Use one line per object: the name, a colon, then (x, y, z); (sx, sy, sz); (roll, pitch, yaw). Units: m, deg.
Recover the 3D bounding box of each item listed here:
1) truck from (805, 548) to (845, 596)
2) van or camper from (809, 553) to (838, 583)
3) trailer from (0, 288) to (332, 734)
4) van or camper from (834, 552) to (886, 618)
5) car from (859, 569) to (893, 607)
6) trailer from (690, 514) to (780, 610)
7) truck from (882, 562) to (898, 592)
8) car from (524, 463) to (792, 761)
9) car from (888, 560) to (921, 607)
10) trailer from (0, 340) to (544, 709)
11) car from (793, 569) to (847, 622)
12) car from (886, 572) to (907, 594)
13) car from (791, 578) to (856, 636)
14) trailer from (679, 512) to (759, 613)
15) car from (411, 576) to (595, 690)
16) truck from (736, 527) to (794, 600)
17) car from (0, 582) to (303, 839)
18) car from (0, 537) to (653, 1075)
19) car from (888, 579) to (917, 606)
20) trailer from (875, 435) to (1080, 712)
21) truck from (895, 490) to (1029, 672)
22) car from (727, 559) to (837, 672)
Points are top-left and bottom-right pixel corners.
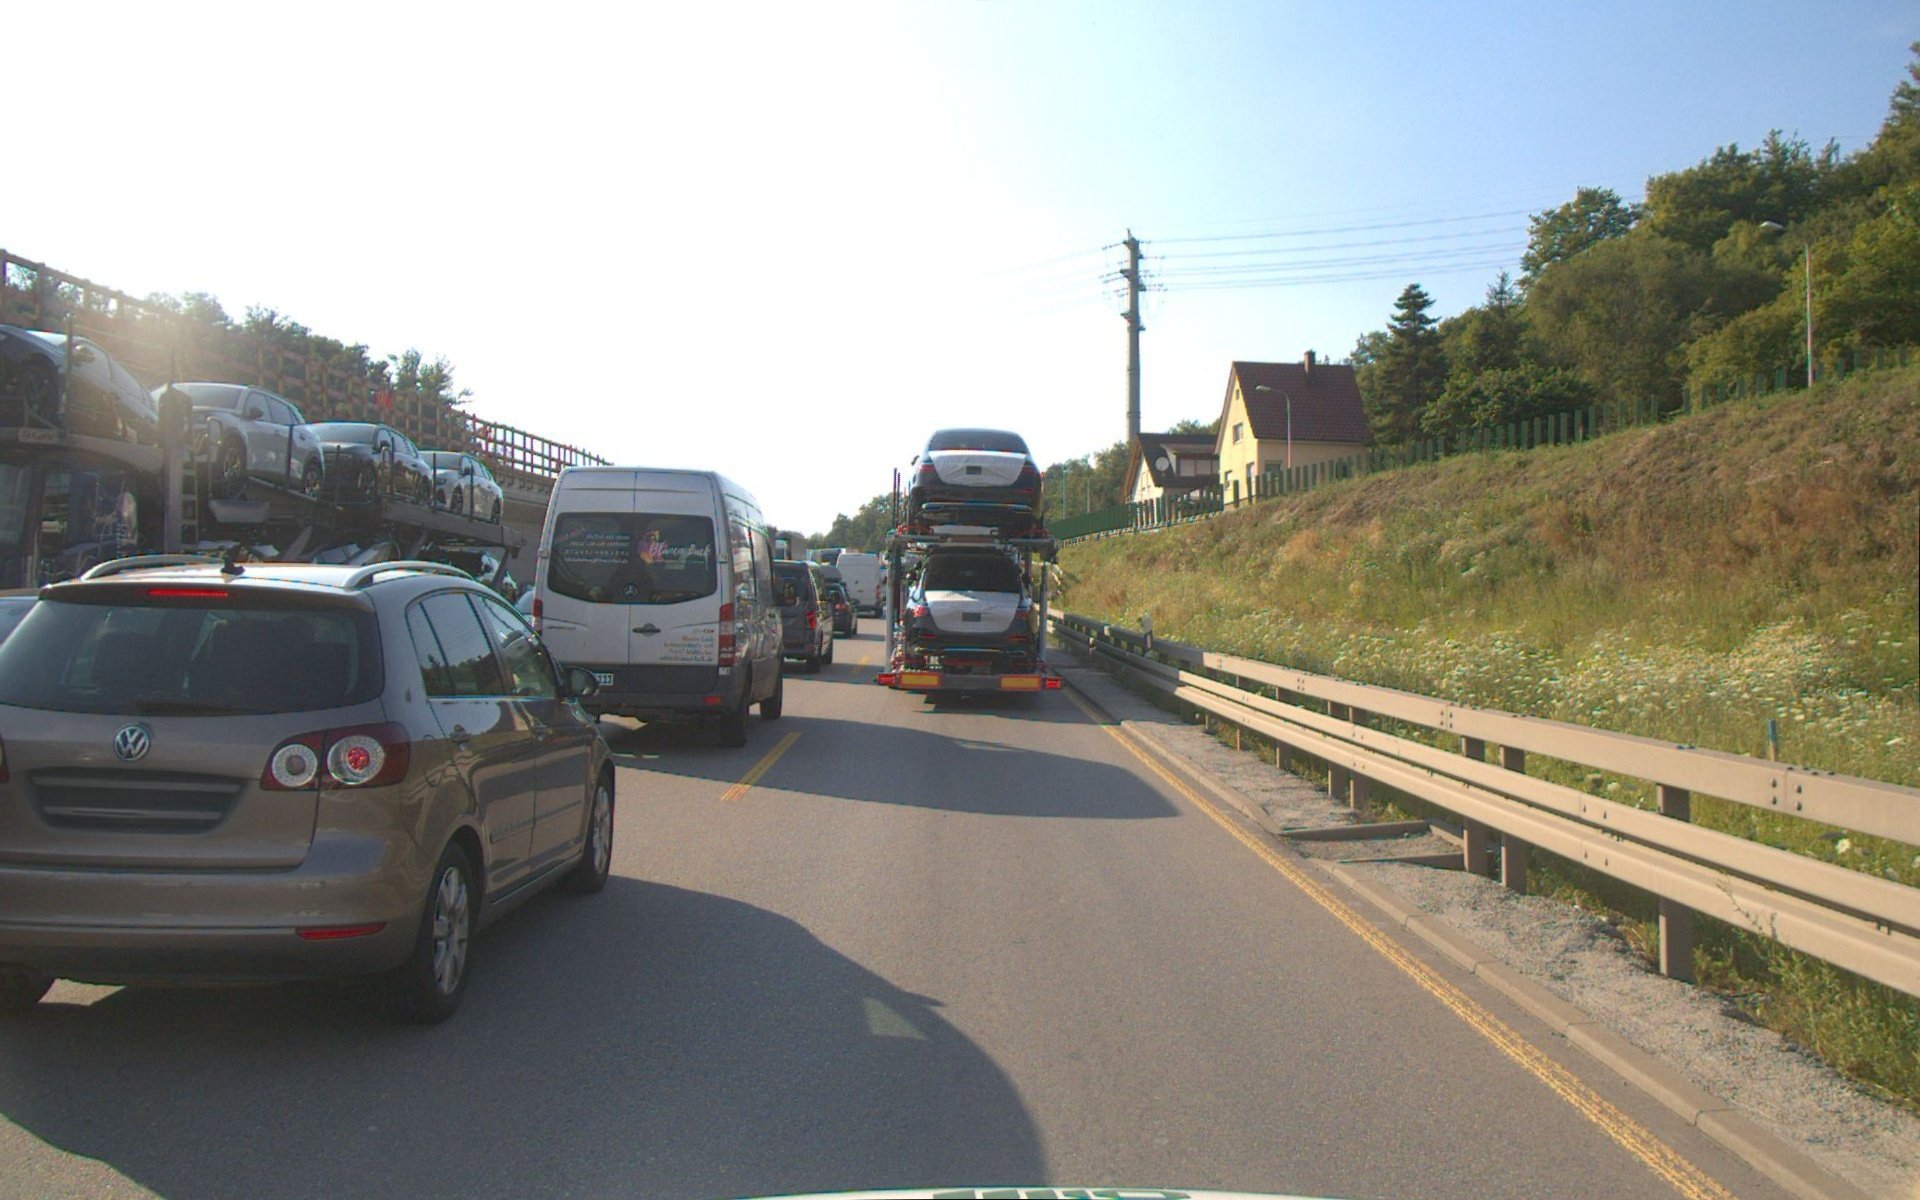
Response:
truck: (-10.453, -2.105, 128.510); (2.660, 3.484, 8.138); (-2, 0, -2)
van or camper: (-12.657, -2.968, 153.537); (2.265, 2.709, 6.453); (-1, 1, -1)
trailer: (-9.888, -0.854, 18.830); (2.715, 4.101, 7.206); (1, 0, -1)
van or camper: (-4.193, -0.622, 70.126); (1.928, 2.637, 5.041); (1, 0, -1)
car: (-4.889, -0.730, 96.706); (1.848, 2.136, 3.764); (1, 1, -2)
trailer: (-10.773, -1.871, 80.627); (2.709, 4.213, 14.023); (1, 1, -1)
truck: (-10.695, -3.472, 252.606); (2.154, 4.504, 8.225); (0, 0, -4)
car: (-3.020, 0.057, 17.764); (1.953, 2.694, 5.529); (0, 1, -1)
car: (-6.368, -1.915, 187.012); (3.377, 5.123, 9.646); (1, 1, -4)
trailer: (-9.963, -0.865, 26.548); (2.715, 4.101, 15.760); (1, 0, -1)
car: (-6.969, -0.224, 82.806); (2.422, 2.578, 3.999); (0, 0, -2)
car: (-8.811, -2.334, 229.131); (2.715, 3.044, 5.594); (1, 0, -3)
car: (-3.926, 0.179, 47.985); (1.691, 1.549, 3.971); (1, 1, -3)
trailer: (-10.564, -1.675, 73.086); (2.709, 4.213, 5.975); (1, 1, -1)
car: (-7.076, 0.475, 26.066); (1.721, 1.605, 4.338); (1, 0, -1)
truck: (-11.401, -2.071, 97.194); (2.803, 4.078, 5.656); (1, 0, -2)
car: (-6.388, 0.621, 11.659); (1.674, 1.470, 4.599); (1, 0, -1)
car: (-2.504, 0.633, 7.120); (1.646, 1.616, 4.270); (0, 0, -1)
car: (-4.075, -0.523, 117.619); (1.953, 1.892, 4.000); (0, 0, -1)
trailer: (0.115, -0.380, 29.439); (2.628, 3.596, 15.285); (1, 0, -1)
truck: (-0.012, -0.391, 36.819); (2.628, 3.596, 7.192); (1, 0, -1)
car: (-3.289, 0.281, 31.188); (1.772, 1.937, 3.998); (1, 0, -3)
